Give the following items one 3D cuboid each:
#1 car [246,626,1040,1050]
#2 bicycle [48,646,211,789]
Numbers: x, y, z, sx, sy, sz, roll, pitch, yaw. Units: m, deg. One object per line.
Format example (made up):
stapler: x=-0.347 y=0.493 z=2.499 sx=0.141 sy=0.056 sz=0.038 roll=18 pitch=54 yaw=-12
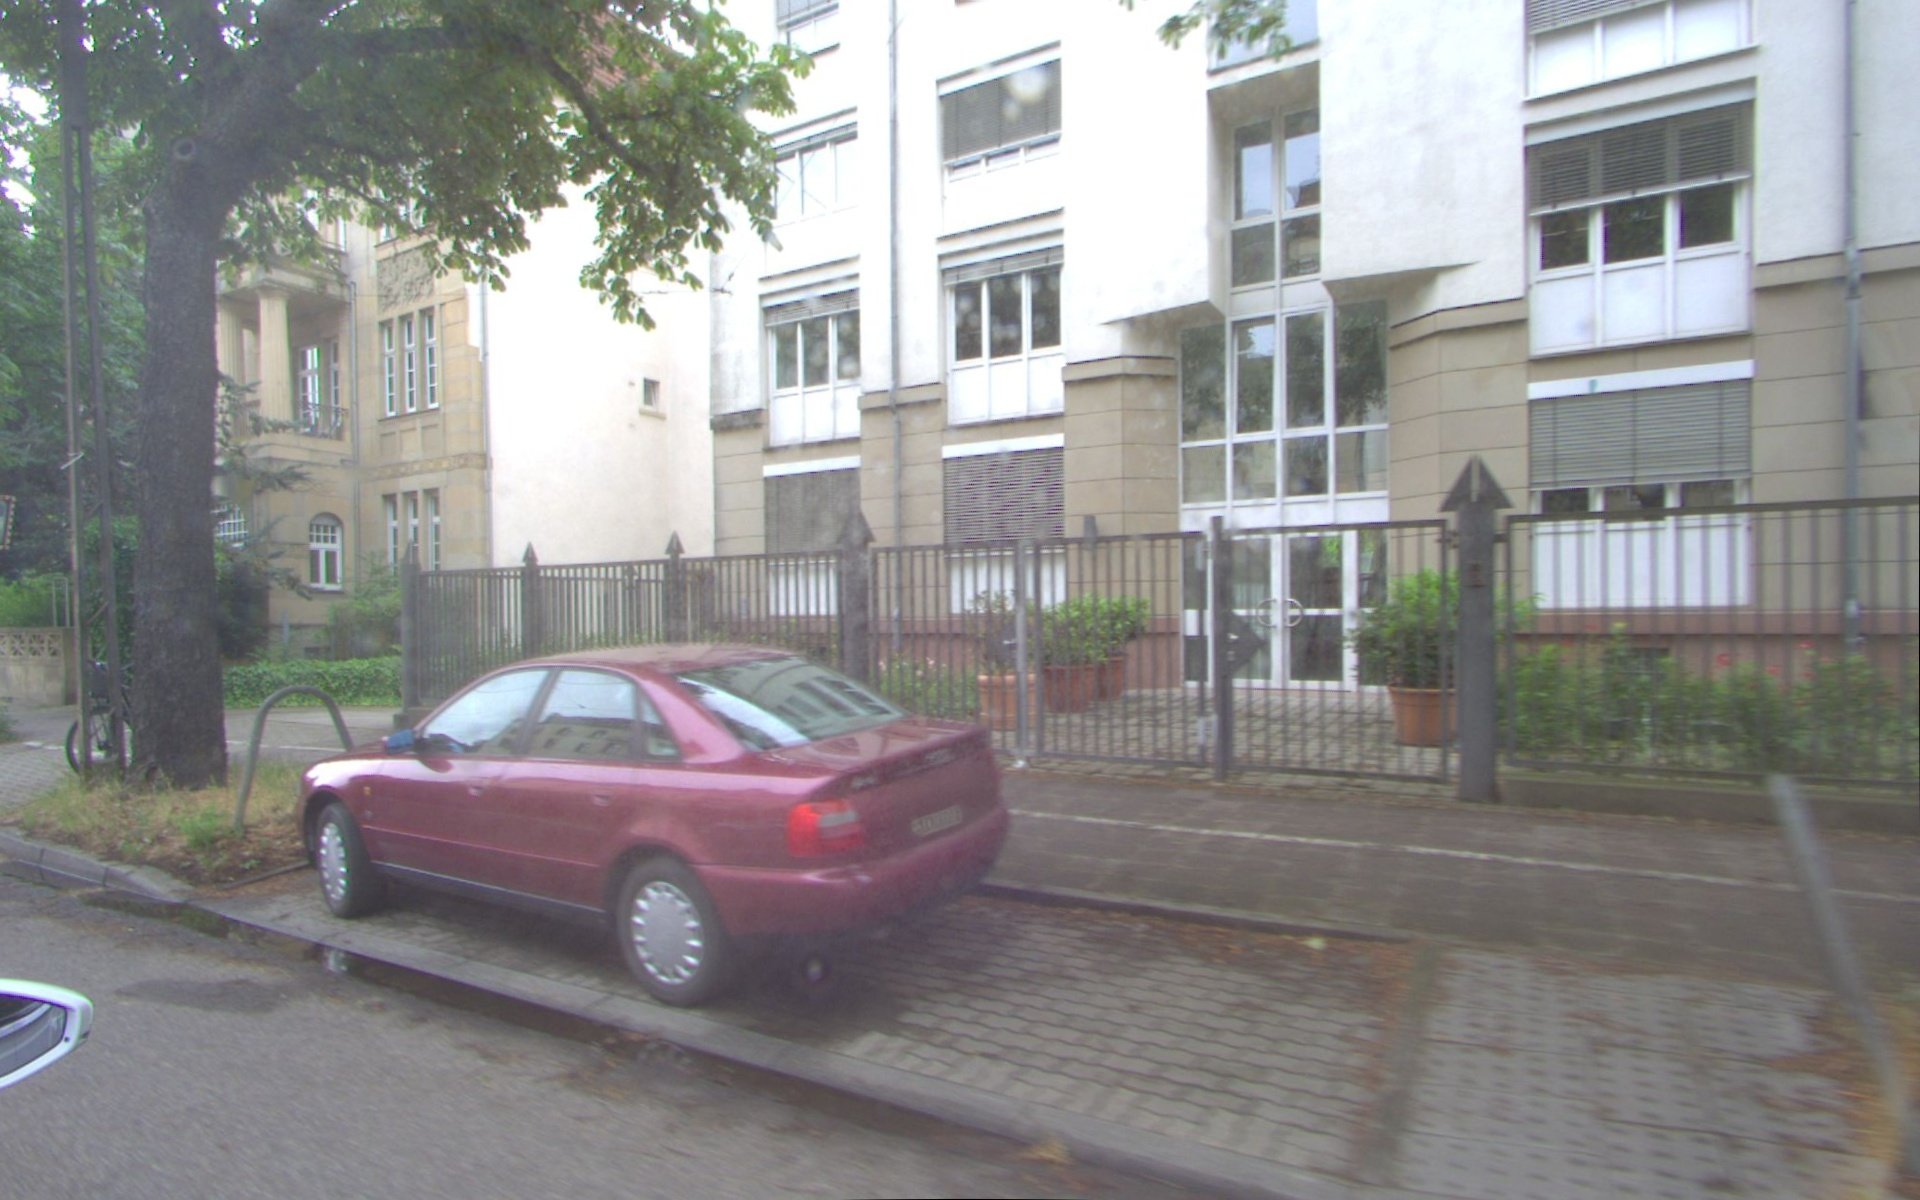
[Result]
car: x=-1.808 y=0.887 z=5.277 sx=4.165 sy=1.418 sz=1.599 roll=-1 pitch=2 yaw=31
bicycle: x=-7.953 y=1.066 z=9.680 sx=0.425 sy=1.213 sz=1.902 roll=-1 pitch=-2 yaw=-14
